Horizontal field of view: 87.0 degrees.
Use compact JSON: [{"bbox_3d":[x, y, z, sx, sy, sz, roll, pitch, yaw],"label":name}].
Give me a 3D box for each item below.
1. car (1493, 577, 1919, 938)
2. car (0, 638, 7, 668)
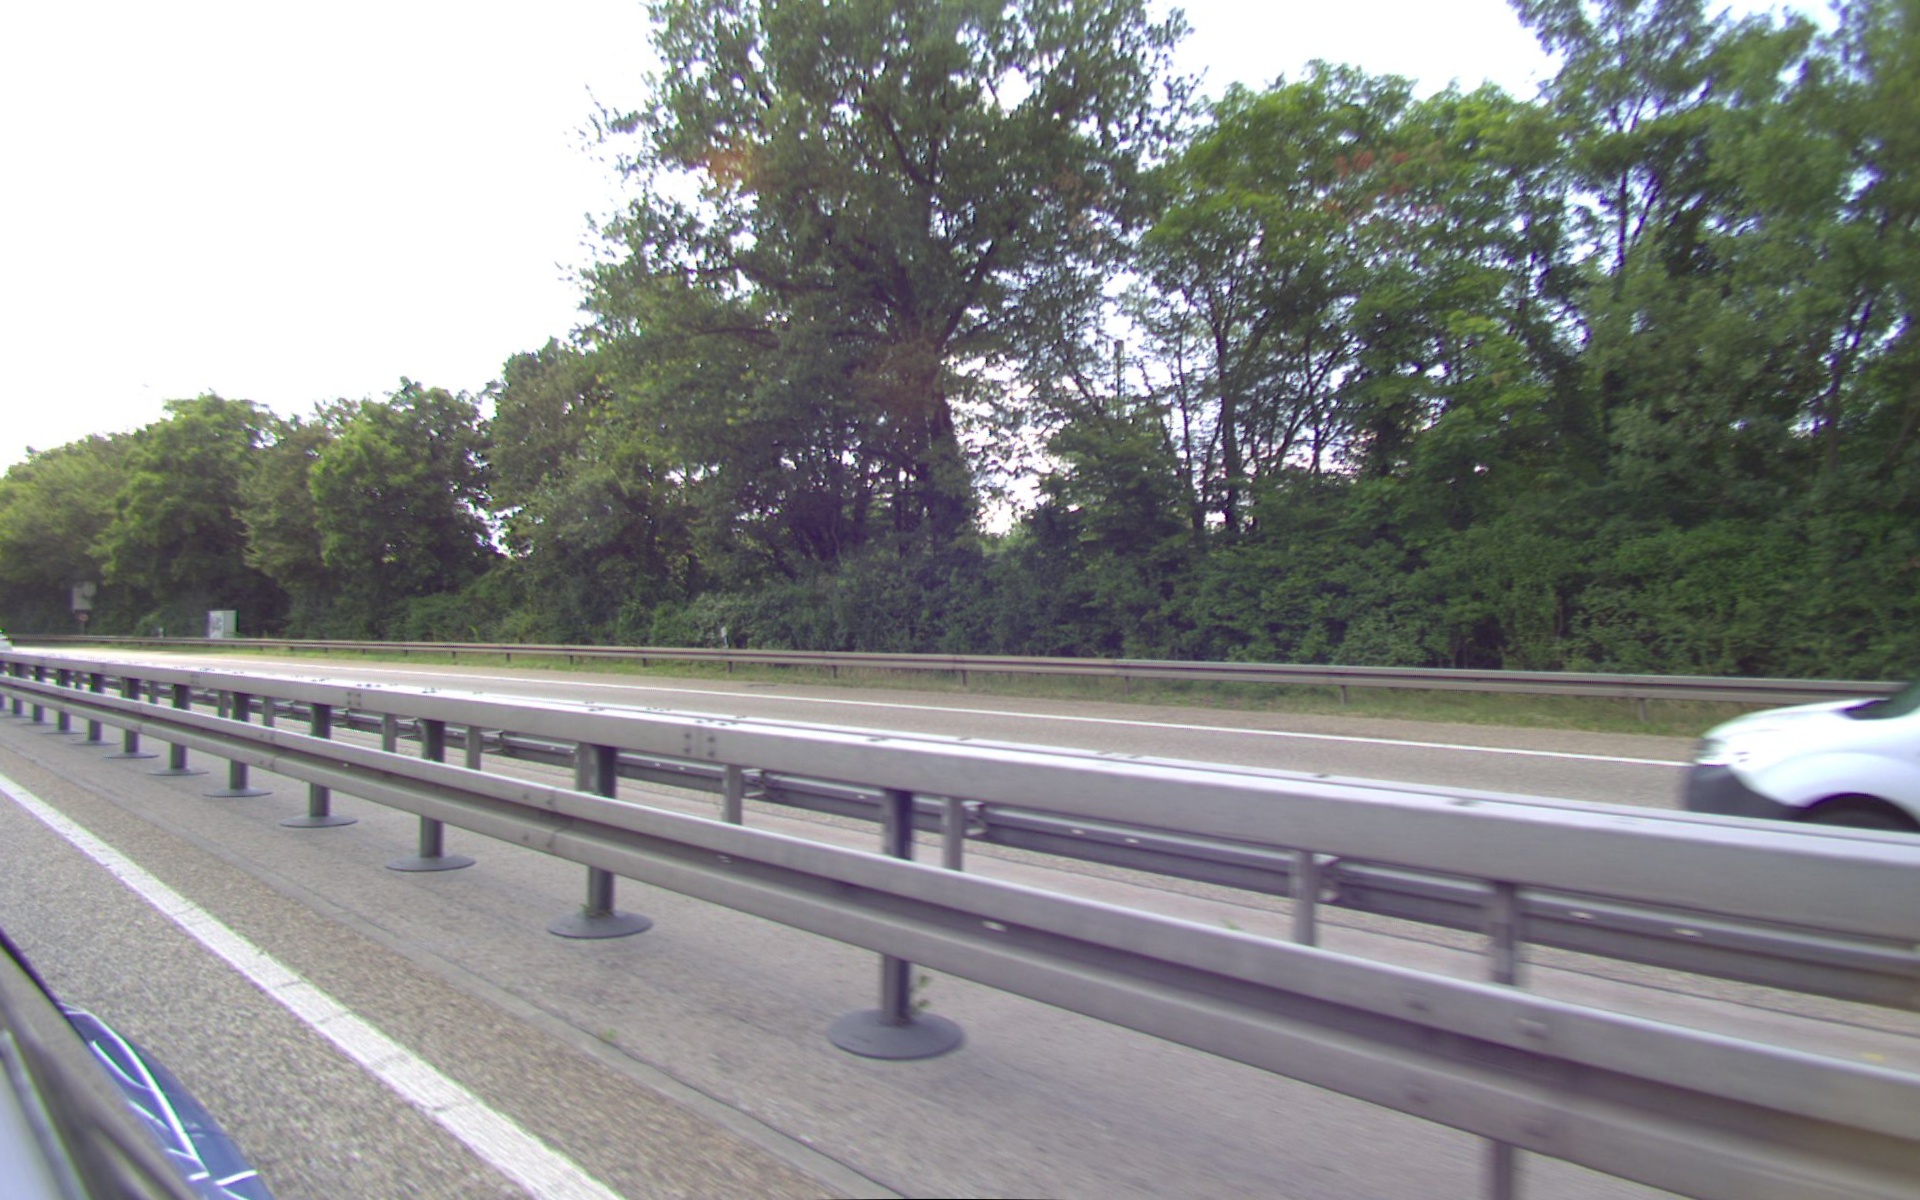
[{"bbox_3d":[6.062,0.794,5.337,5.474,1.832,1.825,-2,-2,41],"label":"car"},{"bbox_3d":[-49.744,2.703,51.196,4.546,1.442,1.661,-2,0,39],"label":"car"}]
